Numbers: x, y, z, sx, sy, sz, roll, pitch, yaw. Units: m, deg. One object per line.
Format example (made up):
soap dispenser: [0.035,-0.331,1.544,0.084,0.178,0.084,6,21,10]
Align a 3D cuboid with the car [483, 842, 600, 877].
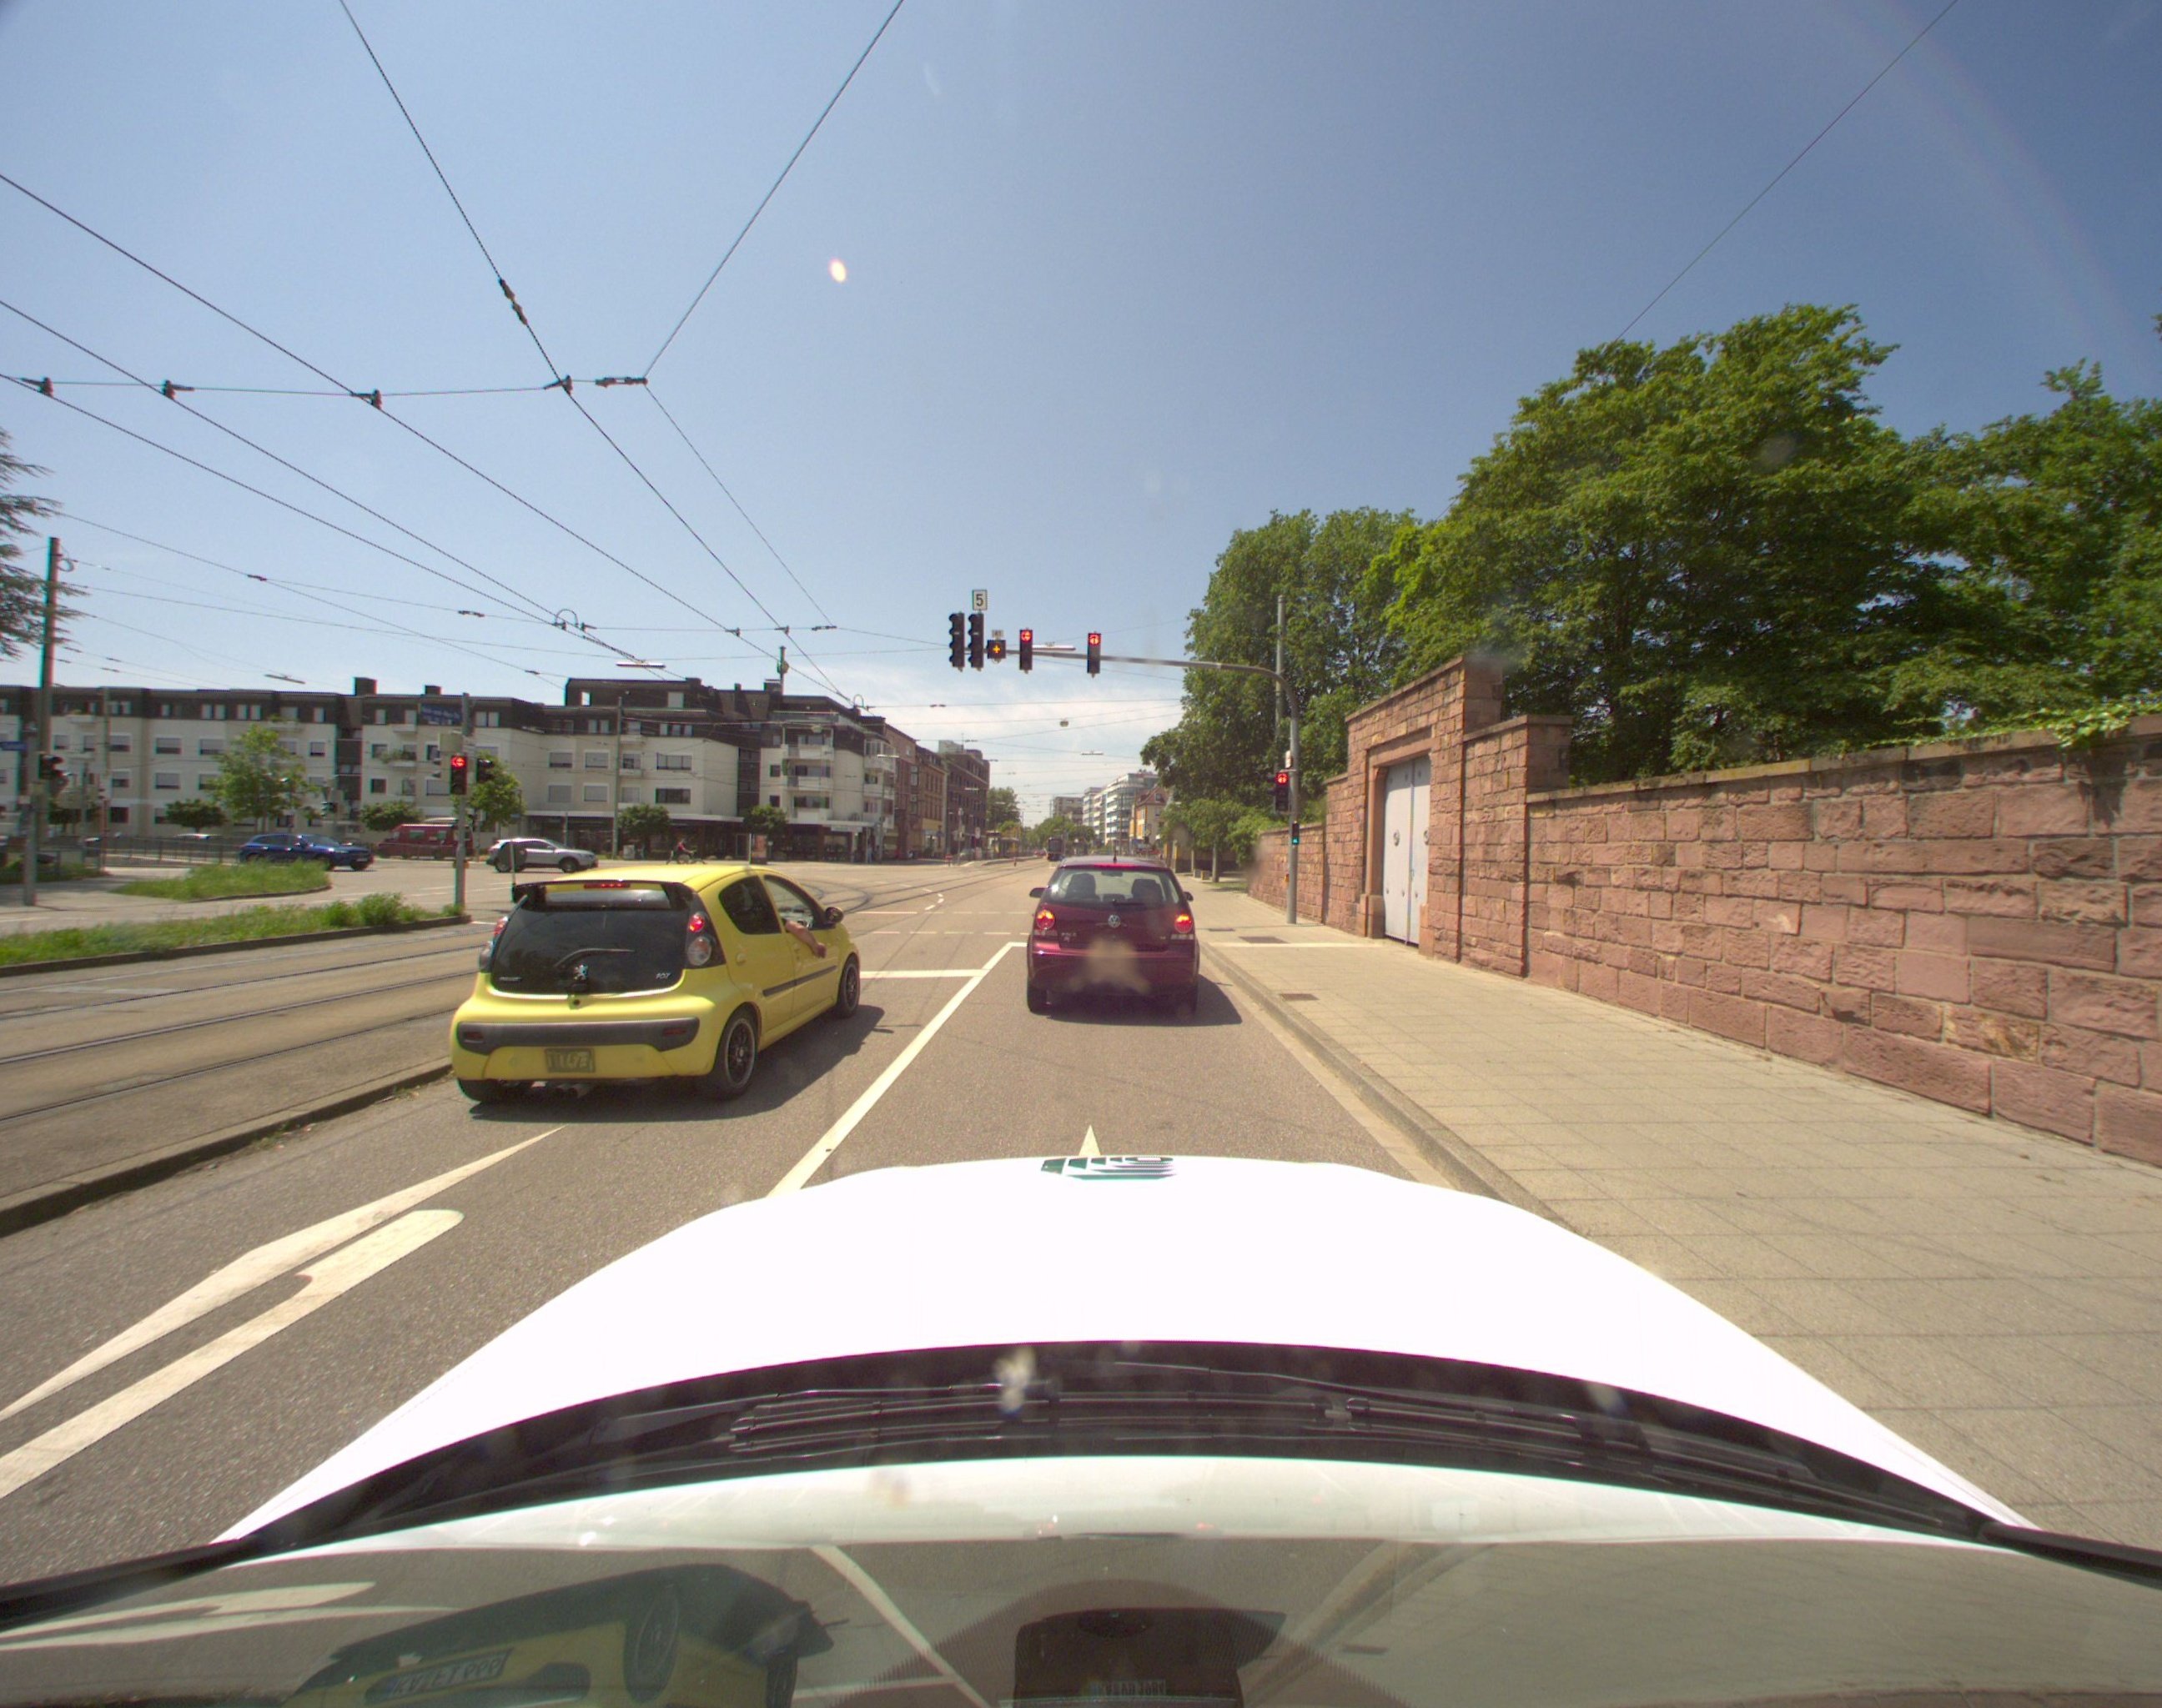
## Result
car: [-25.186,0.258,38.188,4.149,1.584,1.928,0,-1,-18]

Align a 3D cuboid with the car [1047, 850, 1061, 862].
car: [-3.896,0.347,118.180,1.931,1.641,4.001,0,-1,1]

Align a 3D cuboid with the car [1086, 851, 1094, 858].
car: [2.016,0.155,189.657,1.774,1.623,3.999,0,-1,0]

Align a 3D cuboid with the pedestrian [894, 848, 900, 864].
pedestrian: [-18.106,0.224,80.278,0.482,1.541,0.538,0,-1,-2]

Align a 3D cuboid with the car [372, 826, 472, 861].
car: [-45.357,-0.699,56.148,5.048,2.341,2.244,0,-1,0]

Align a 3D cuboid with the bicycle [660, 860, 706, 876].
bicycle: [-19.658,0.674,40.271,1.987,0.783,0.463,0,-1,-20]

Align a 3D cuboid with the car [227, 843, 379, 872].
car: [-34.606,0.174,36.330,4.757,1.237,1.938,0,-1,-2]

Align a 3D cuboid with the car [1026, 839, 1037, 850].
car: [-9.399,-1.882,155.669,1.728,2.013,4.002,1,0,2]

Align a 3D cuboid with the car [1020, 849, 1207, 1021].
car: [0.321,0.702,9.160,1.604,1.463,4.086,1,0,1]

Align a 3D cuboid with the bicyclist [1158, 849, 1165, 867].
bicyclist: [8.290,0.388,83.720,0.719,1.818,0.889,0,-1,1]

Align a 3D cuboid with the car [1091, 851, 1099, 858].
car: [2.844,0.106,167.314,1.567,1.415,3.721,-1,0,1]

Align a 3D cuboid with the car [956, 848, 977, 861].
car: [-13.487,0.088,96.131,1.682,1.462,4.003,1,0,3]

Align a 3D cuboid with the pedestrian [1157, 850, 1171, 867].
pedestrian: [7.869,0.436,77.334,0.984,1.661,0.913,1,0,-19]

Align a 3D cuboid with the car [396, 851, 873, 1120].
car: [-2.901,0.725,6.170,1.717,1.445,3.293,-1,1,1]

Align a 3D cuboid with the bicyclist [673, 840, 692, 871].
bicyclist: [-19.701,0.063,40.272,0.752,1.501,0.479,0,-1,-20]

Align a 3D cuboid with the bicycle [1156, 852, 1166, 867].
bicycle: [8.270,0.539,84.353,0.831,1.525,4.001,0,-1,2]

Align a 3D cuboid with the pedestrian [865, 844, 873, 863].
pedestrian: [-19.477,-0.028,74.823,0.614,1.754,0.499,1,-1,-43]
